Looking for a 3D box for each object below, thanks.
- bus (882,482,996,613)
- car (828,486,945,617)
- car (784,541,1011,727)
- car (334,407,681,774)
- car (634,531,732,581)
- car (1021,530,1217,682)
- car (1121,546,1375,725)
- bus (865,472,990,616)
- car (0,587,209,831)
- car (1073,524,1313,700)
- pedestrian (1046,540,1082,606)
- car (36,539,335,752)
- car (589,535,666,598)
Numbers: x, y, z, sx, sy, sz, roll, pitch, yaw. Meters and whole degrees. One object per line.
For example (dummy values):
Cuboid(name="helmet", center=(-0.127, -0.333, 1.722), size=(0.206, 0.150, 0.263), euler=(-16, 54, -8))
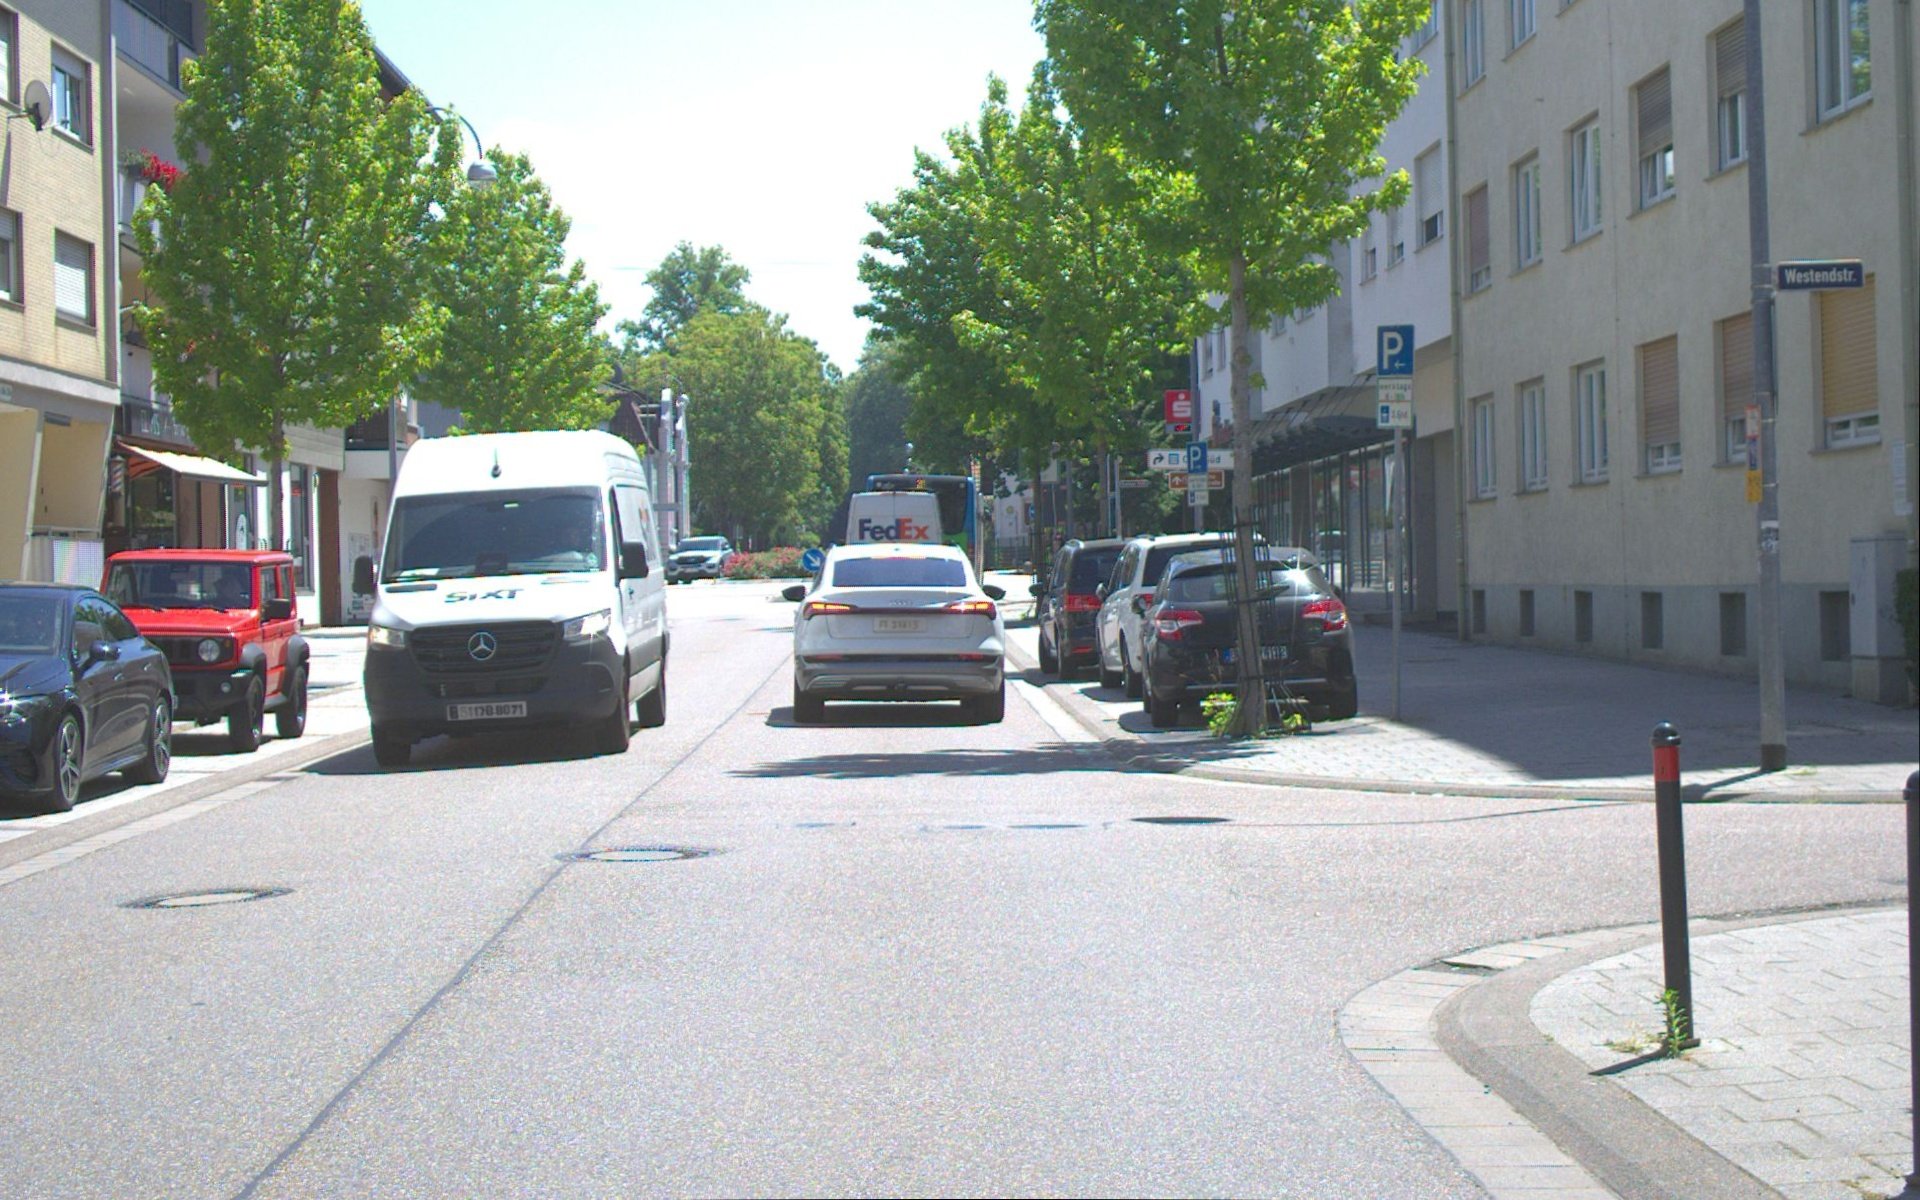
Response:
Cuboid(name="bus", center=(-0.485, -1.335, 88.643), size=(2.661, 3.199, 7.451), euler=(1, 0, 2))
Cuboid(name="car", center=(-1.407, -0.930, 67.034), size=(2.156, 2.433, 5.283), euler=(1, 0, -1))
Cuboid(name="car", center=(-0.627, 0.273, 32.247), size=(1.993, 1.627, 4.000), euler=(0, 1, -2))
Cuboid(name="car", center=(-3.648, -0.126, 29.103), size=(2.036, 2.621, 7.108), euler=(-3, 1, -1))
Cuboid(name="car", center=(-9.943, -1.564, 123.606), size=(1.867, 1.751, 3.995), euler=(1, 0, 22))
Cuboid(name="car", center=(1.883, 0.038, 42.133), size=(1.855, 1.669, 4.537), euler=(-3, 1, -3))
Cuboid(name="car", center=(2.484, 0.257, 30.654), size=(1.896, 1.433, 4.544), euler=(-1, 1, 1))
Cuboid(name="bus", center=(-0.703, -1.299, 81.265), size=(2.661, 3.210, 7.301), euler=(1, 0, 2))
Cuboid(name="car", center=(-6.552, 0.649, 23.378), size=(1.896, 1.412, 5.048), euler=(1, 1, -2))
Cuboid(name="car", center=(2.413, 0.085, 36.794), size=(1.896, 1.669, 4.691), euler=(-3, 1, -3))
Cuboid(name="pedestrian", center=(2.396, -0.614, 79.241), size=(0.716, 1.497, 0.582), euler=(-2, 1, -9))
Cuboid(name="car", center=(-6.634, 0.345, 29.850), size=(1.752, 1.696, 4.102), euler=(1, 1, -1))
Cuboid(name="car", center=(-9.543, -0.969, 98.816), size=(1.856, 1.686, 4.151), euler=(-2, 1, -1))
